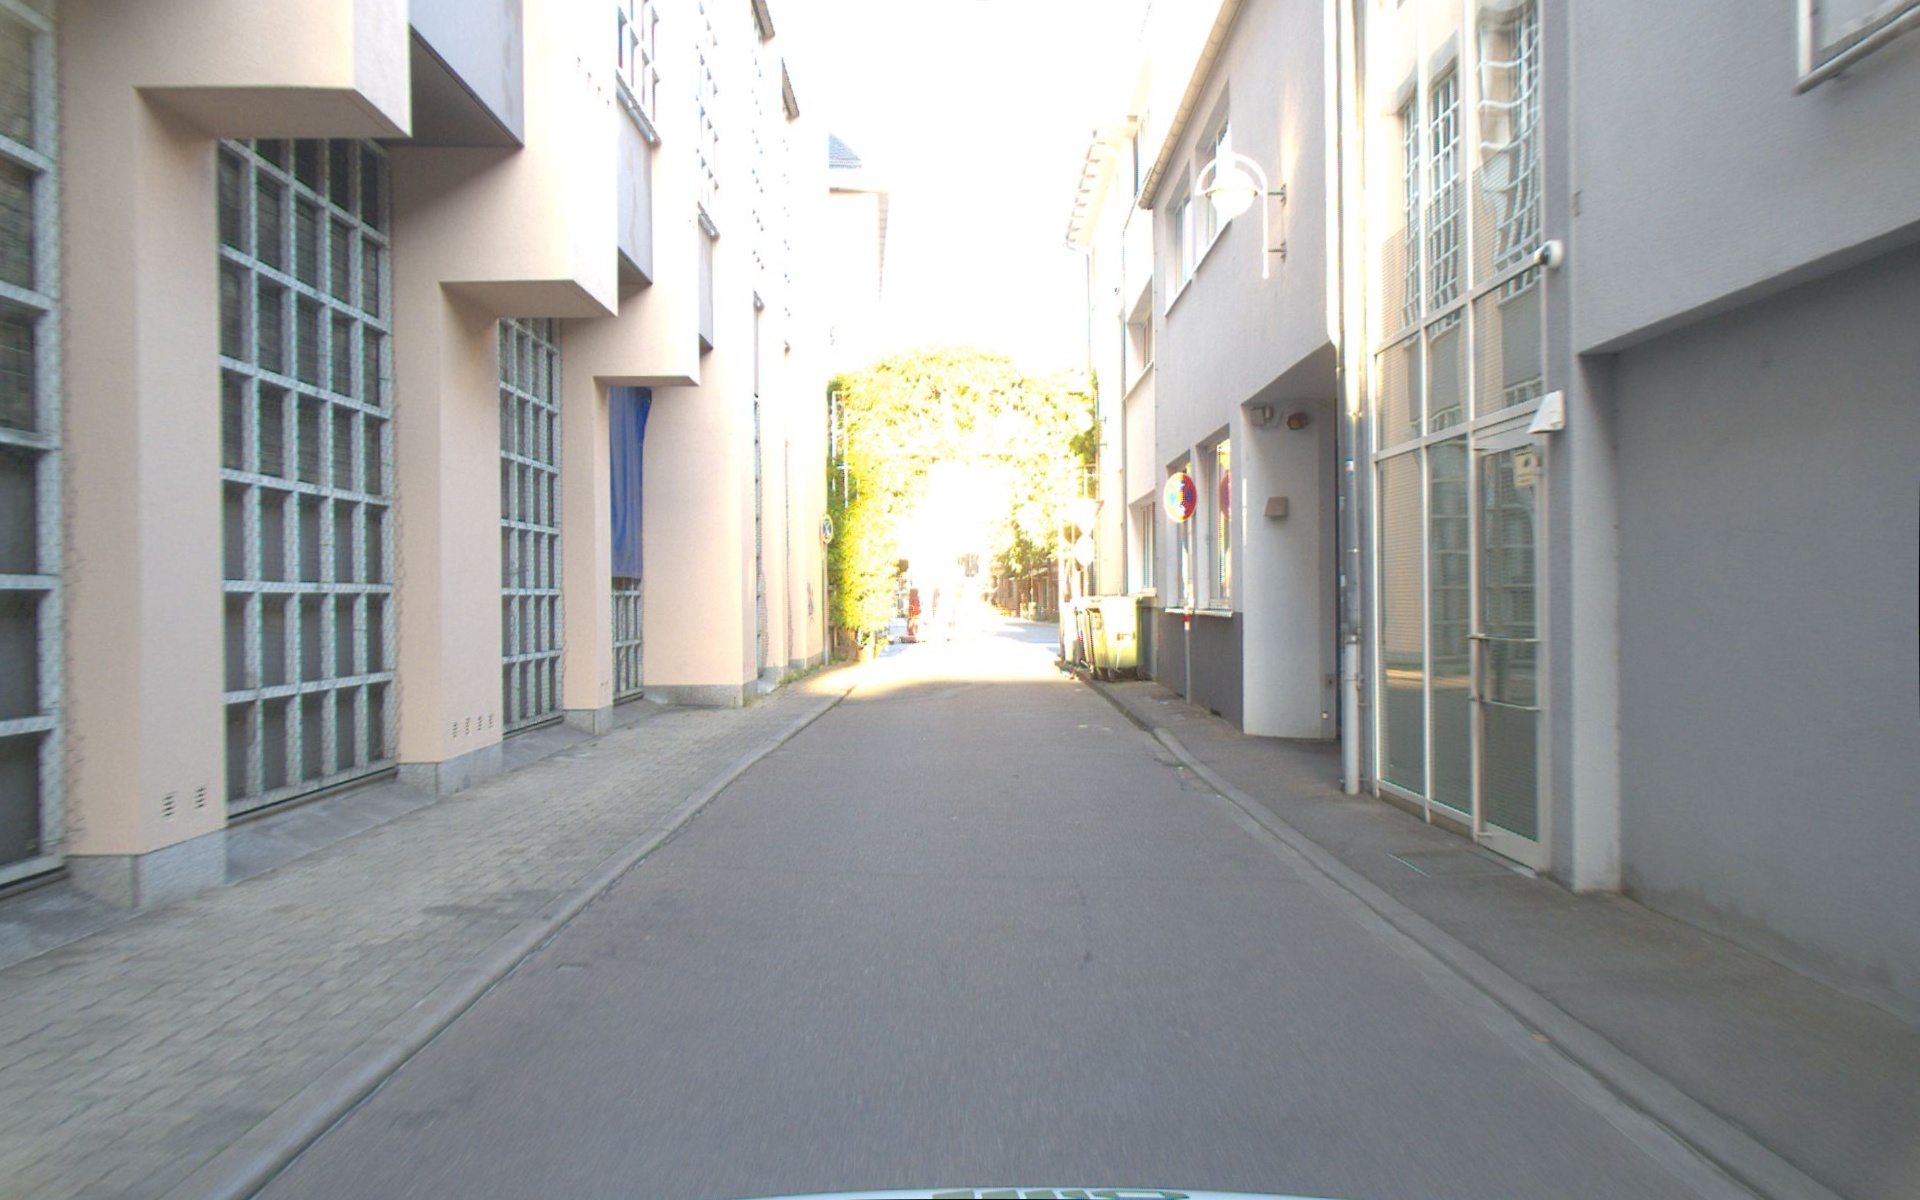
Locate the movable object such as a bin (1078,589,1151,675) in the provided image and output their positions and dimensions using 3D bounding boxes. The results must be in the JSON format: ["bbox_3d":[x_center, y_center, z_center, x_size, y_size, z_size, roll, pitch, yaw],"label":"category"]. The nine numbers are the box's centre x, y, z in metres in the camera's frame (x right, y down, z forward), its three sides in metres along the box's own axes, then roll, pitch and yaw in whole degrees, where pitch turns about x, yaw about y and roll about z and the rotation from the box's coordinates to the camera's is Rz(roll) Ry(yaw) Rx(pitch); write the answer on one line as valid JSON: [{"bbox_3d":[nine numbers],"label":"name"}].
[{"bbox_3d":[2.653,0.540,28.559,1.043,1.390,1.341,-3,0,-2],"label":"movable object such as a bin"}]

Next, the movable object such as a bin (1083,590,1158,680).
[{"bbox_3d":[2.623,0.561,27.154,0.919,1.390,1.340,-3,0,-6],"label":"movable object such as a bin"}]

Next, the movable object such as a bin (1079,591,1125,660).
[{"bbox_3d":[2.837,0.503,33.210,0.818,1.327,1.290,-3,0,3],"label":"movable object such as a bin"}]
